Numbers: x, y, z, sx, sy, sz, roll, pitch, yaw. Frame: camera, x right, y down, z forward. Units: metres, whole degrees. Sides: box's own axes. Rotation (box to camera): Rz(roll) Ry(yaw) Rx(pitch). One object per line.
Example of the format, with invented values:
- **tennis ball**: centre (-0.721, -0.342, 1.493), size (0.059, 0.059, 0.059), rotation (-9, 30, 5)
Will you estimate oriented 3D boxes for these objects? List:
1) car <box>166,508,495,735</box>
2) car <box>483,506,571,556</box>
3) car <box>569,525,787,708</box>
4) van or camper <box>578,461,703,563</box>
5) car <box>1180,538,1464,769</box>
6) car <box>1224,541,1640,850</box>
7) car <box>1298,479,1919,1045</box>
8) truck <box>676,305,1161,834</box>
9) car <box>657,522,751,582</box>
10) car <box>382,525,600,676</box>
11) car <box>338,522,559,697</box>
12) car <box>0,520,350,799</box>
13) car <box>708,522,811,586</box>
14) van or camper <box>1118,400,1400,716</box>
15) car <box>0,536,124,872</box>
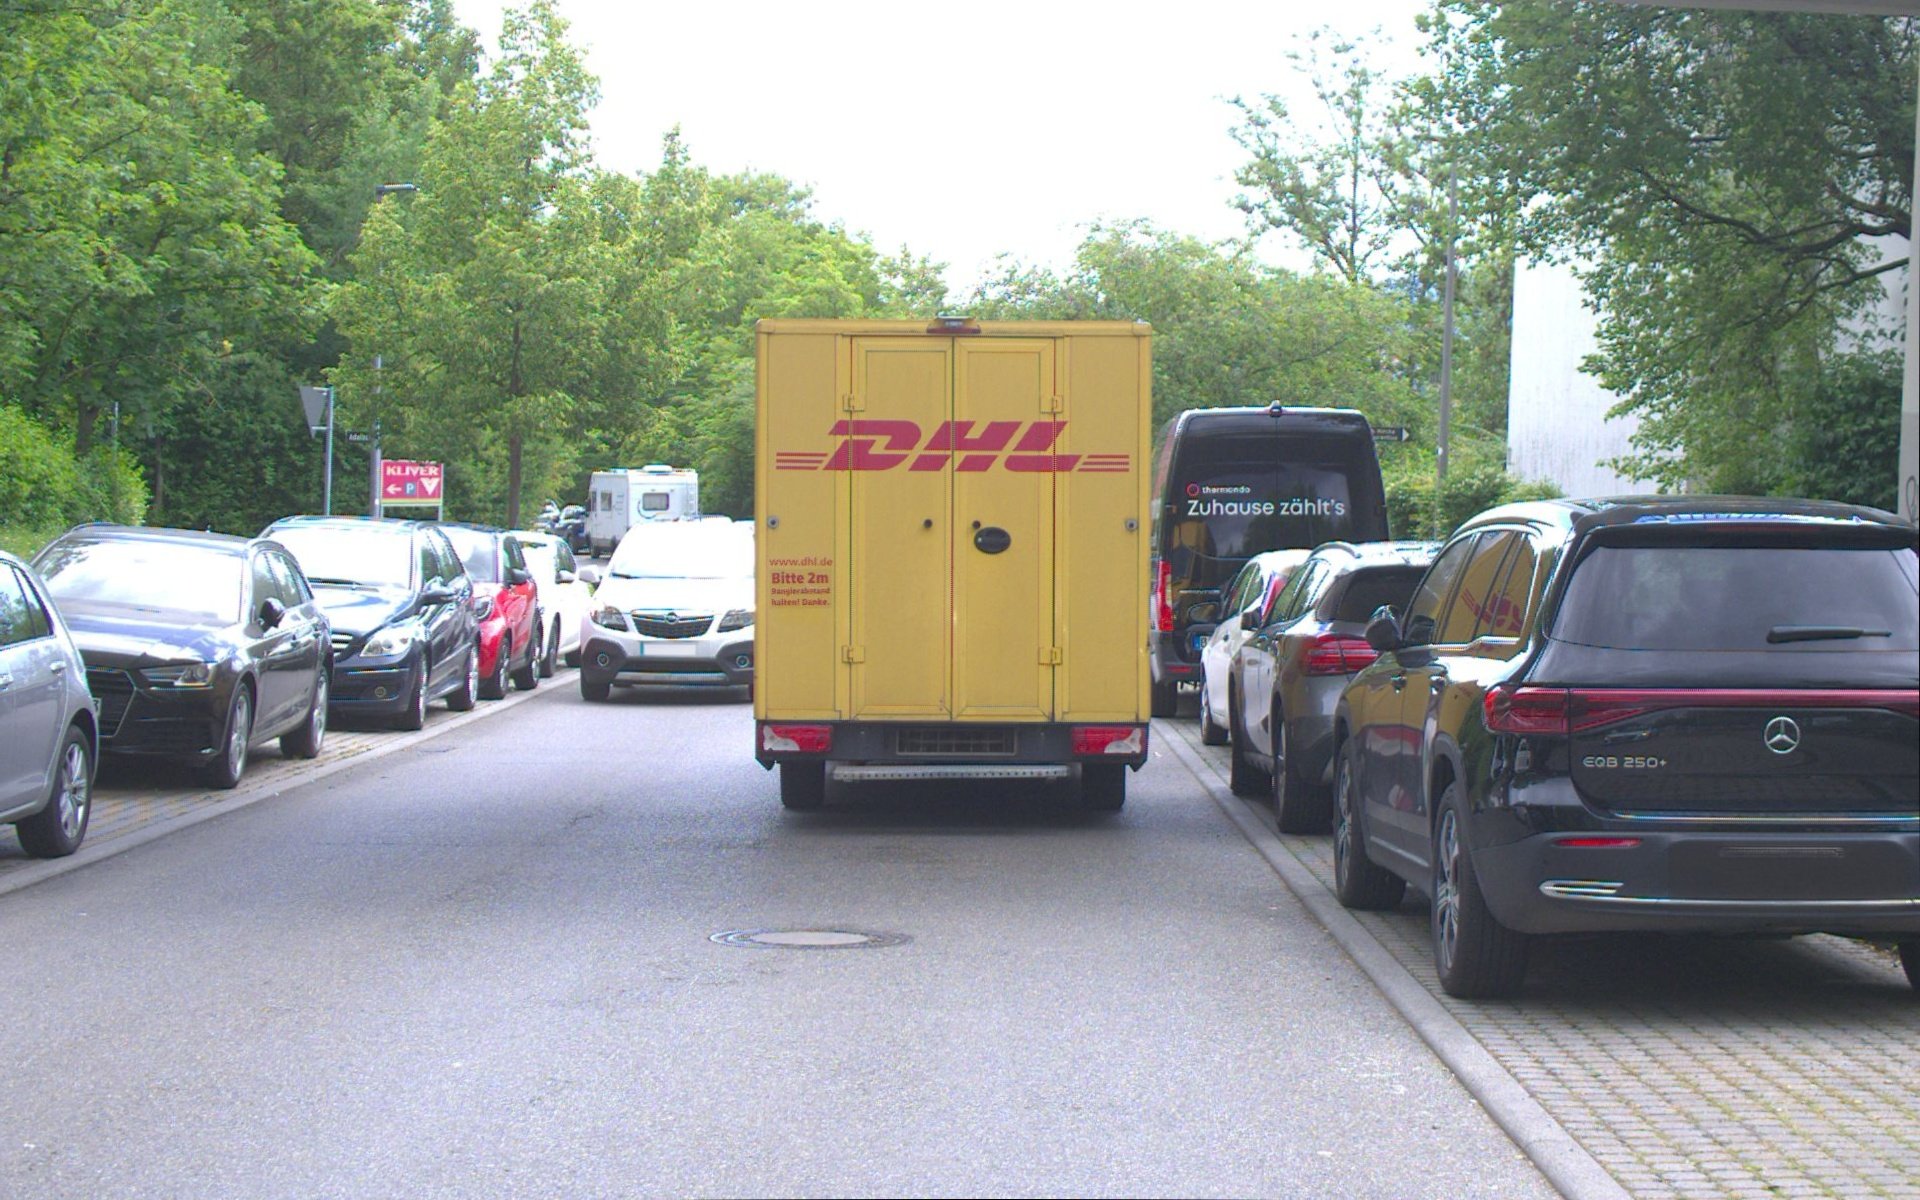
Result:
- **car**: centre (-4.945, 0.120, 27.513), size (1.884, 1.553, 3.838), rotation (4, 1, -1)
- **car**: centre (-14.903, -2.389, 118.170), size (1.843, 1.524, 4.001), rotation (1, 3, -25)
- **car**: centre (-2.630, 0.104, 32.836), size (1.748, 1.605, 4.052), rotation (1, 1, 0)
- **van or camper**: centre (-9.884, -2.736, 105.995), size (2.323, 2.862, 5.262), rotation (3, 2, -21)
- **car**: centre (2.496, 0.325, 24.342), size (1.562, 1.491, 3.331), rotation (0, 1, -1)
- **car**: centre (2.484, 0.437, 18.999), size (1.699, 1.491, 4.119), rotation (1, 1, 0)
- **car**: centre (2.392, 0.439, 12.390), size (1.813, 1.672, 4.371), rotation (0, 1, -1)
- **truck**: centre (-0.256, -0.237, 21.116), size (2.466, 2.693, 6.825), rotation (-1, 1, -1)
- **car**: centre (-7.437, -1.397, 99.494), size (1.843, 1.524, 4.002), rotation (2, 3, -17)
- **car**: centre (-4.857, -0.040, 36.071), size (1.674, 1.431, 3.970), rotation (2, 1, 0)
- **car**: centre (-4.705, 0.059, 31.926), size (1.529, 1.501, 2.713), rotation (2, 1, 2)
- **car**: centre (-5.079, 0.287, 21.602), size (1.884, 1.504, 4.453), rotation (2, 1, -3)
- **car**: centre (-5.410, -1.254, 92.452), size (1.843, 1.524, 4.002), rotation (2, 3, -17)
- **van or camper**: centre (2.523, -0.375, 30.288), size (1.993, 2.514, 5.471), rotation (-1, 1, 0)
- **car**: centre (-5.014, 0.415, 14.522), size (1.884, 1.422, 4.000), rotation (2, 1, 1)
